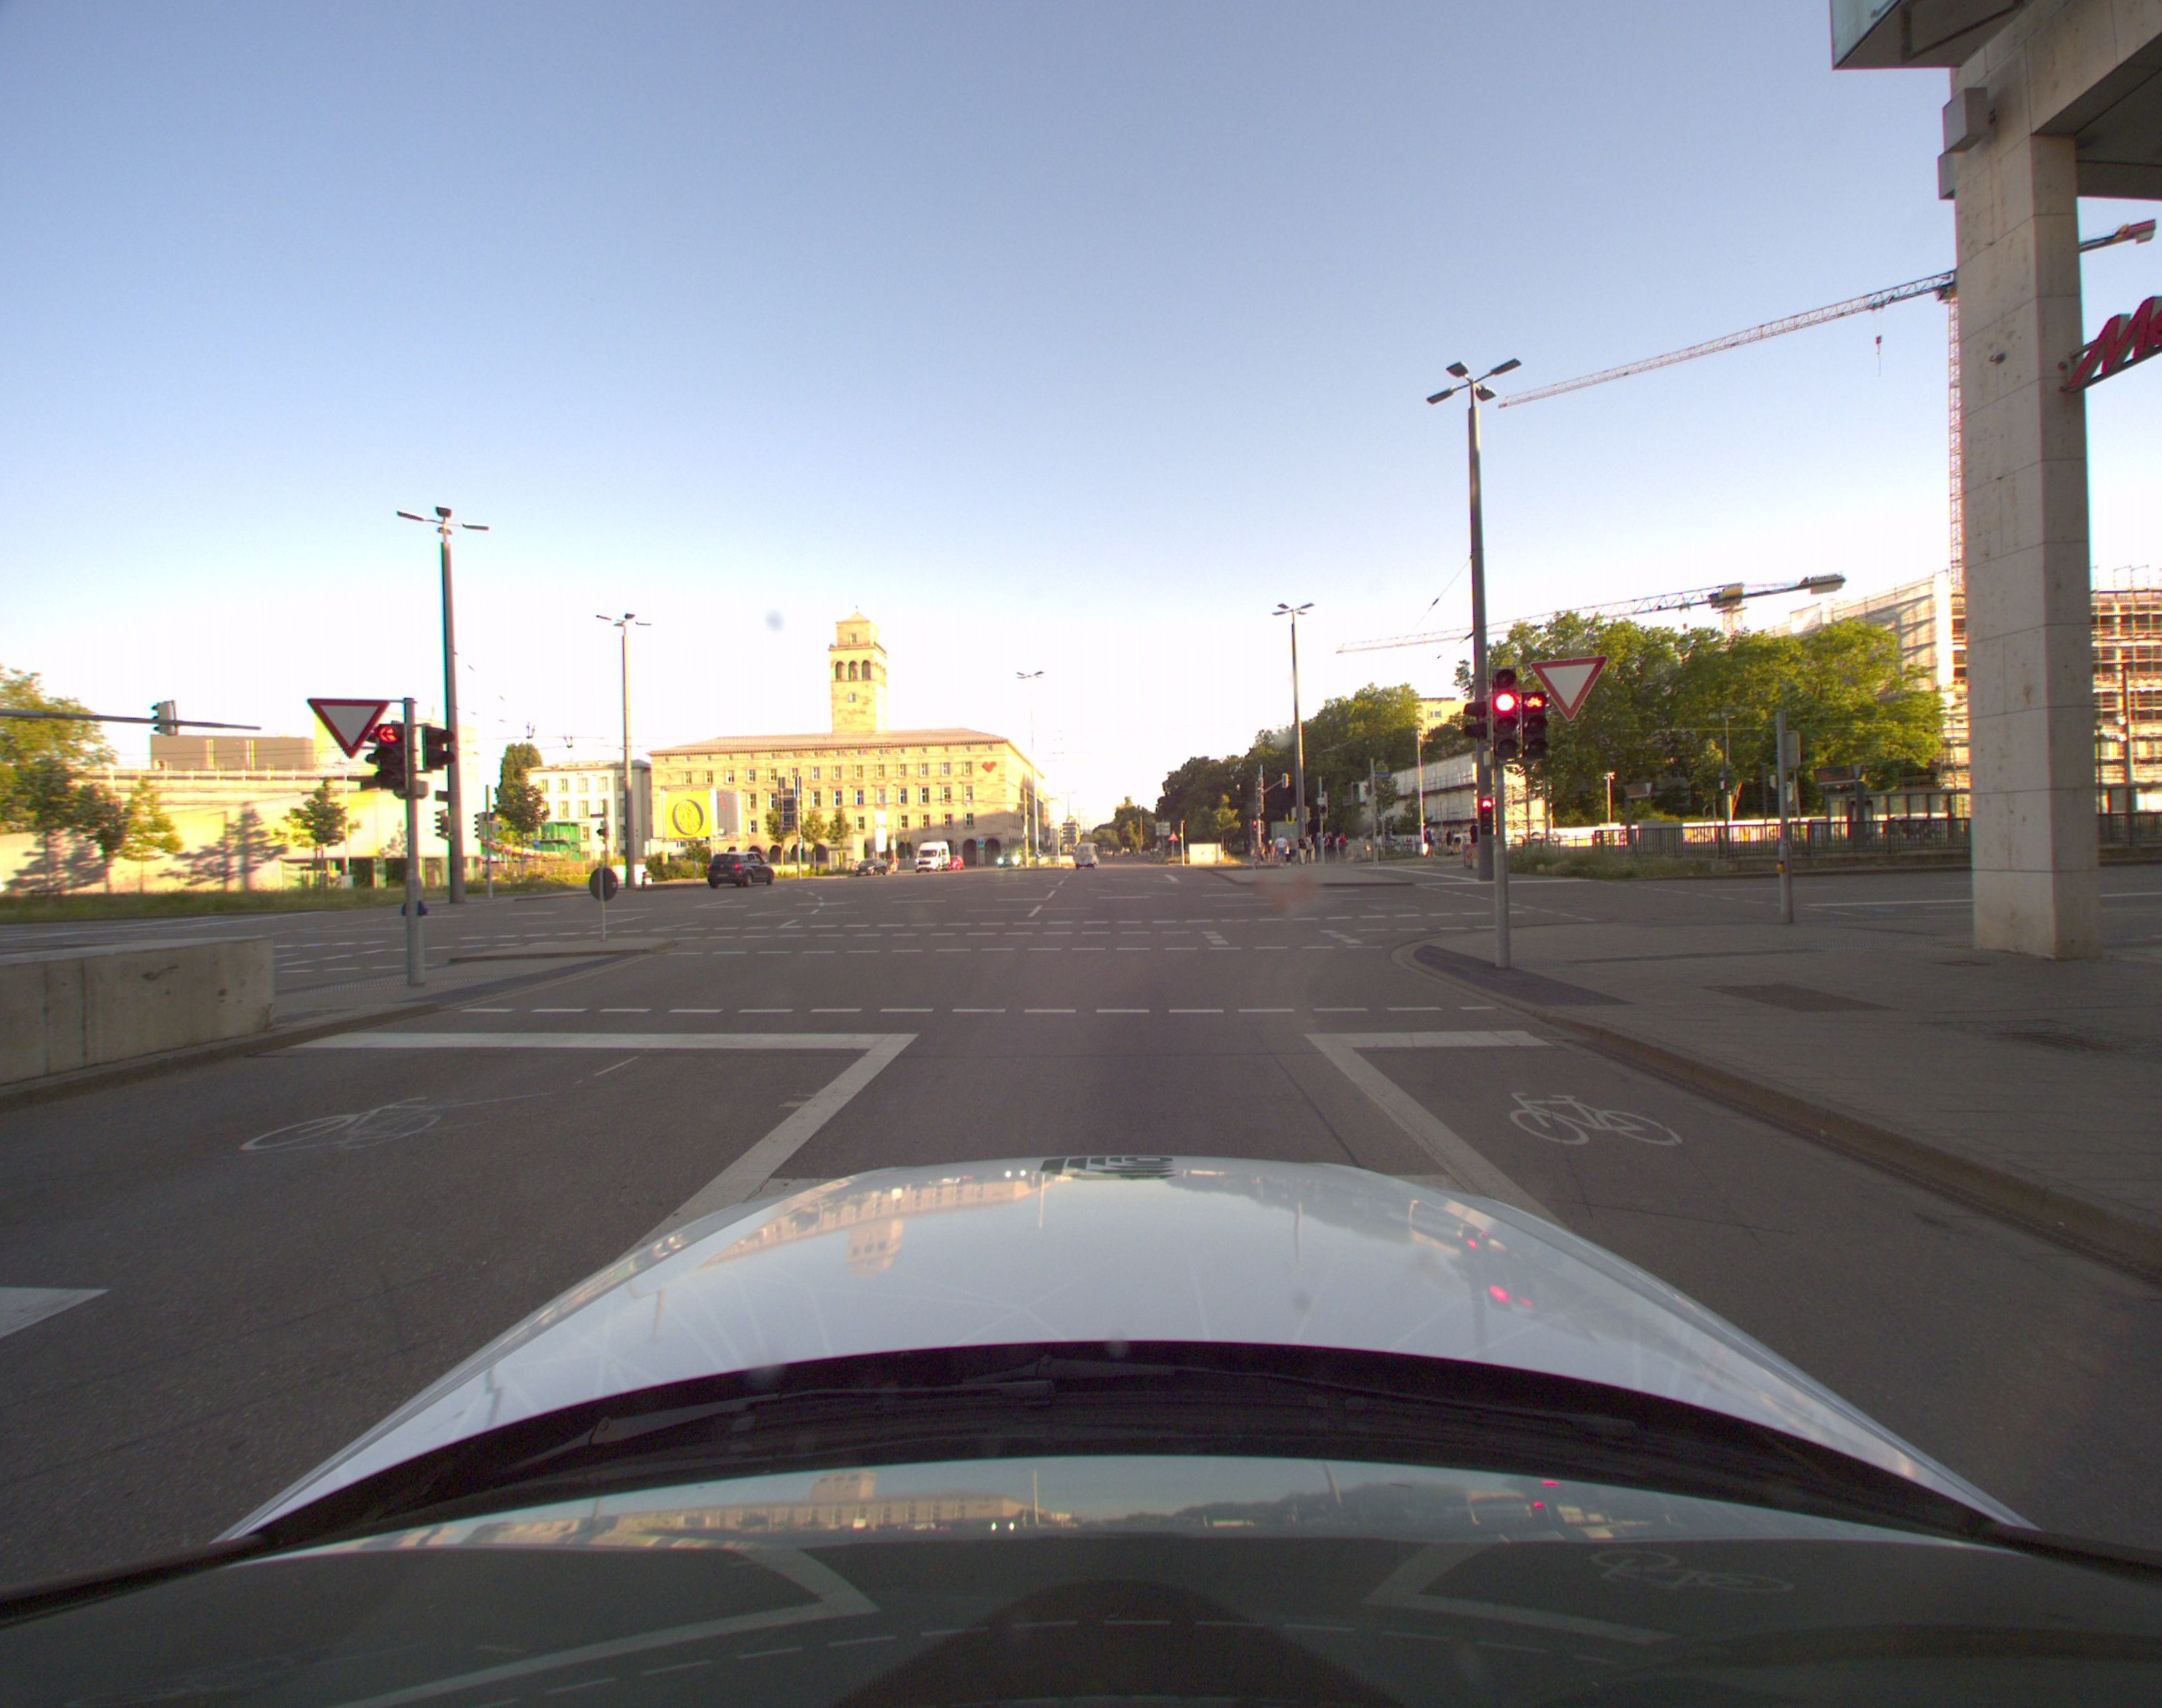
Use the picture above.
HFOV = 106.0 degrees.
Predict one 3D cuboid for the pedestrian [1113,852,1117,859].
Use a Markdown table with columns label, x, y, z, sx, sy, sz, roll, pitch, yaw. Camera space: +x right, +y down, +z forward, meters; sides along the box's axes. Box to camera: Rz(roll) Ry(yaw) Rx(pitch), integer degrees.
| label | x | y | z | sx | sy | sz | roll | pitch | yaw |
| --- | --- | --- | --- | --- | --- | --- | --- | --- | --- |
| pedestrian | 8.103 | 0.328 | 194.741 | 0.903 | 1.671 | 1.307 | -2 | 1 | 1 |

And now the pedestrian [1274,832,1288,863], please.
| label | x | y | z | sx | sy | sz | roll | pitch | yaw |
| --- | --- | --- | --- | --- | --- | --- | --- | --- | --- |
| pedestrian | 11.248 | -0.352 | 45.729 | 0.705 | 1.725 | 0.671 | -2 | 0 | 16 |

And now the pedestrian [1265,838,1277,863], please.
| label | x | y | z | sx | sy | sz | roll | pitch | yaw |
| --- | --- | --- | --- | --- | --- | --- | --- | --- | --- |
| pedestrian | 14.104 | -0.262 | 60.442 | 0.673 | 1.757 | 0.907 | -2 | 1 | 22 |

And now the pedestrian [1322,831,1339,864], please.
| label | x | y | z | sx | sy | sz | roll | pitch | yaw |
| --- | --- | --- | --- | --- | --- | --- | --- | --- | --- |
| pedestrian | 13.940 | -0.358 | 45.501 | 0.799 | 1.791 | 0.804 | -2 | 0 | 16 |

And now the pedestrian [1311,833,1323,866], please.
| label | x | y | z | sx | sy | sz | roll | pitch | yaw |
| --- | --- | --- | --- | --- | --- | --- | --- | --- | --- |
| pedestrian | 13.195 | -0.264 | 45.516 | 0.568 | 1.791 | 0.641 | -2 | 0 | 16 |

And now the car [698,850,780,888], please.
| label | x | y | z | sx | sy | sz | roll | pitch | yaw |
| --- | --- | --- | --- | --- | --- | --- | --- | --- | --- |
| car | -15.760 | 0.653 | 37.778 | 1.731 | 1.604 | 4.139 | -2 | 0 | 4 |

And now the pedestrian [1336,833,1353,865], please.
| label | x | y | z | sx | sy | sz | roll | pitch | yaw |
| --- | --- | --- | --- | --- | --- | --- | --- | --- | --- |
| pedestrian | 14.795 | -0.276 | 45.769 | 0.838 | 1.734 | 0.708 | -2 | 0 | 14 |

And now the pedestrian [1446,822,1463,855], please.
| label | x | y | z | sx | sy | sz | roll | pitch | yaw |
| --- | --- | --- | --- | --- | --- | --- | --- | --- | --- |
| pedestrian | 19.757 | -0.831 | 43.060 | 0.705 | 1.725 | 0.671 | -2 | 0 | 19 |

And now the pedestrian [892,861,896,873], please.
| label | x | y | z | sx | sy | sz | roll | pitch | yaw |
| --- | --- | --- | --- | --- | --- | --- | --- | --- | --- |
| pedestrian | -20.769 | 1.432 | 90.430 | 0.420 | 1.300 | 0.459 | 0 | -1 | -3 |

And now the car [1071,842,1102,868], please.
| label | x | y | z | sx | sy | sz | roll | pitch | yaw |
| --- | --- | --- | --- | --- | --- | --- | --- | --- | --- |
| car | 0.416 | 0.034 | 55.259 | 1.473 | 1.696 | 2.984 | -2 | 0 | 12 |

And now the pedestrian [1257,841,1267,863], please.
| label | x | y | z | sx | sy | sz | roll | pitch | yaw |
| --- | --- | --- | --- | --- | --- | --- | --- | --- | --- |
| pedestrian | 13.461 | -0.152 | 60.556 | 0.555 | 1.655 | 0.907 | -2 | 1 | 22 |

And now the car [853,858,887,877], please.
| label | x | y | z | sx | sy | sz | roll | pitch | yaw |
| --- | --- | --- | --- | --- | --- | --- | --- | --- | --- |
| car | -18.341 | 1.142 | 70.864 | 1.817 | 1.466 | 4.158 | -2 | 1 | 0 |

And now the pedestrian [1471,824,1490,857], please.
| label | x | y | z | sx | sy | sz | roll | pitch | yaw |
| --- | --- | --- | --- | --- | --- | --- | --- | --- | --- |
| pedestrian | 21.407 | -0.732 | 43.620 | 0.707 | 1.725 | 0.670 | -2 | 0 | 8 |

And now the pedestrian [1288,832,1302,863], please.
| label | x | y | z | sx | sy | sz | roll | pitch | yaw |
| --- | --- | --- | --- | --- | --- | --- | --- | --- | --- |
| pedestrian | 11.998 | -0.358 | 45.620 | 0.705 | 1.725 | 0.671 | -2 | 0 | 15 |

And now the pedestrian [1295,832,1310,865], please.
| label | x | y | z | sx | sy | sz | roll | pitch | yaw |
| --- | --- | --- | --- | --- | --- | --- | --- | --- | --- |
| pedestrian | 11.987 | -0.305 | 44.047 | 0.705 | 1.725 | 0.919 | -2 | 0 | 17 |

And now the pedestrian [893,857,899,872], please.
| label | x | y | z | sx | sy | sz | roll | pitch | yaw |
| --- | --- | --- | --- | --- | --- | --- | --- | --- | --- |
| pedestrian | -20.776 | 1.189 | 91.608 | 0.620 | 1.744 | 0.459 | 0 | -1 | -4 |

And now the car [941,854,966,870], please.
| label | x | y | z | sx | sy | sz | roll | pitch | yaw |
| --- | --- | --- | --- | --- | --- | --- | --- | --- | --- |
| car | -12.766 | 0.768 | 81.666 | 1.732 | 1.487 | 4.002 | -2 | 1 | 2 |

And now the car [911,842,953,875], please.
| label | x | y | z | sx | sy | sz | roll | pitch | yaw |
| --- | --- | --- | --- | --- | --- | --- | --- | --- | --- |
| car | -13.271 | 0.353 | 72.980 | 2.269 | 2.776 | 6.090 | -2 | 0 | 4 |

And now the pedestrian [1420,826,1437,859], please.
| label | x | y | z | sx | sy | sz | roll | pitch | yaw |
| --- | --- | --- | --- | --- | --- | --- | --- | --- | --- |
| pedestrian | 18.459 | -0.635 | 43.244 | 0.660 | 1.725 | 0.718 | -2 | 0 | 38 |

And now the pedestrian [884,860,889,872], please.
| label | x | y | z | sx | sy | sz | roll | pitch | yaw |
| --- | --- | --- | --- | --- | --- | --- | --- | --- | --- |
| pedestrian | -21.716 | 1.332 | 90.935 | 0.504 | 1.300 | 0.700 | 0 | -1 | -3 |

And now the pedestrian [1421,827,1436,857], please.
| label | x | y | z | sx | sy | sz | roll | pitch | yaw |
| --- | --- | --- | --- | --- | --- | --- | --- | --- | --- |
| pedestrian | 18.992 | -0.656 | 44.478 | 0.569 | 1.592 | 0.537 | -2 | 0 | 1 |

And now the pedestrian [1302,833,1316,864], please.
| label | x | y | z | sx | sy | sz | roll | pitch | yaw |
| --- | --- | --- | --- | --- | --- | --- | --- | --- | --- |
| pedestrian | 13.008 | -0.303 | 46.399 | 0.705 | 1.725 | 0.919 | -2 | 0 | 15 |

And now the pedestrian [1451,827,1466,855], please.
| label | x | y | z | sx | sy | sz | roll | pitch | yaw |
| --- | --- | --- | --- | --- | --- | --- | --- | --- | --- |
| pedestrian | 20.259 | -0.696 | 43.679 | 0.670 | 1.441 | 0.718 | -2 | 0 | 24 |

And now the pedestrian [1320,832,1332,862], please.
| label | x | y | z | sx | sy | sz | roll | pitch | yaw |
| --- | --- | --- | --- | --- | --- | --- | --- | --- | --- |
| pedestrian | 14.124 | -0.404 | 46.951 | 0.568 | 1.678 | 0.641 | -2 | 0 | 16 |

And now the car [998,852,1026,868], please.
| label | x | y | z | sx | sy | sz | roll | pitch | yaw |
| --- | --- | --- | --- | --- | --- | --- | --- | --- | --- |
| car | -6.152 | 0.516 | 72.957 | 1.815 | 1.341 | 4.005 | -2 | 1 | 4 |
